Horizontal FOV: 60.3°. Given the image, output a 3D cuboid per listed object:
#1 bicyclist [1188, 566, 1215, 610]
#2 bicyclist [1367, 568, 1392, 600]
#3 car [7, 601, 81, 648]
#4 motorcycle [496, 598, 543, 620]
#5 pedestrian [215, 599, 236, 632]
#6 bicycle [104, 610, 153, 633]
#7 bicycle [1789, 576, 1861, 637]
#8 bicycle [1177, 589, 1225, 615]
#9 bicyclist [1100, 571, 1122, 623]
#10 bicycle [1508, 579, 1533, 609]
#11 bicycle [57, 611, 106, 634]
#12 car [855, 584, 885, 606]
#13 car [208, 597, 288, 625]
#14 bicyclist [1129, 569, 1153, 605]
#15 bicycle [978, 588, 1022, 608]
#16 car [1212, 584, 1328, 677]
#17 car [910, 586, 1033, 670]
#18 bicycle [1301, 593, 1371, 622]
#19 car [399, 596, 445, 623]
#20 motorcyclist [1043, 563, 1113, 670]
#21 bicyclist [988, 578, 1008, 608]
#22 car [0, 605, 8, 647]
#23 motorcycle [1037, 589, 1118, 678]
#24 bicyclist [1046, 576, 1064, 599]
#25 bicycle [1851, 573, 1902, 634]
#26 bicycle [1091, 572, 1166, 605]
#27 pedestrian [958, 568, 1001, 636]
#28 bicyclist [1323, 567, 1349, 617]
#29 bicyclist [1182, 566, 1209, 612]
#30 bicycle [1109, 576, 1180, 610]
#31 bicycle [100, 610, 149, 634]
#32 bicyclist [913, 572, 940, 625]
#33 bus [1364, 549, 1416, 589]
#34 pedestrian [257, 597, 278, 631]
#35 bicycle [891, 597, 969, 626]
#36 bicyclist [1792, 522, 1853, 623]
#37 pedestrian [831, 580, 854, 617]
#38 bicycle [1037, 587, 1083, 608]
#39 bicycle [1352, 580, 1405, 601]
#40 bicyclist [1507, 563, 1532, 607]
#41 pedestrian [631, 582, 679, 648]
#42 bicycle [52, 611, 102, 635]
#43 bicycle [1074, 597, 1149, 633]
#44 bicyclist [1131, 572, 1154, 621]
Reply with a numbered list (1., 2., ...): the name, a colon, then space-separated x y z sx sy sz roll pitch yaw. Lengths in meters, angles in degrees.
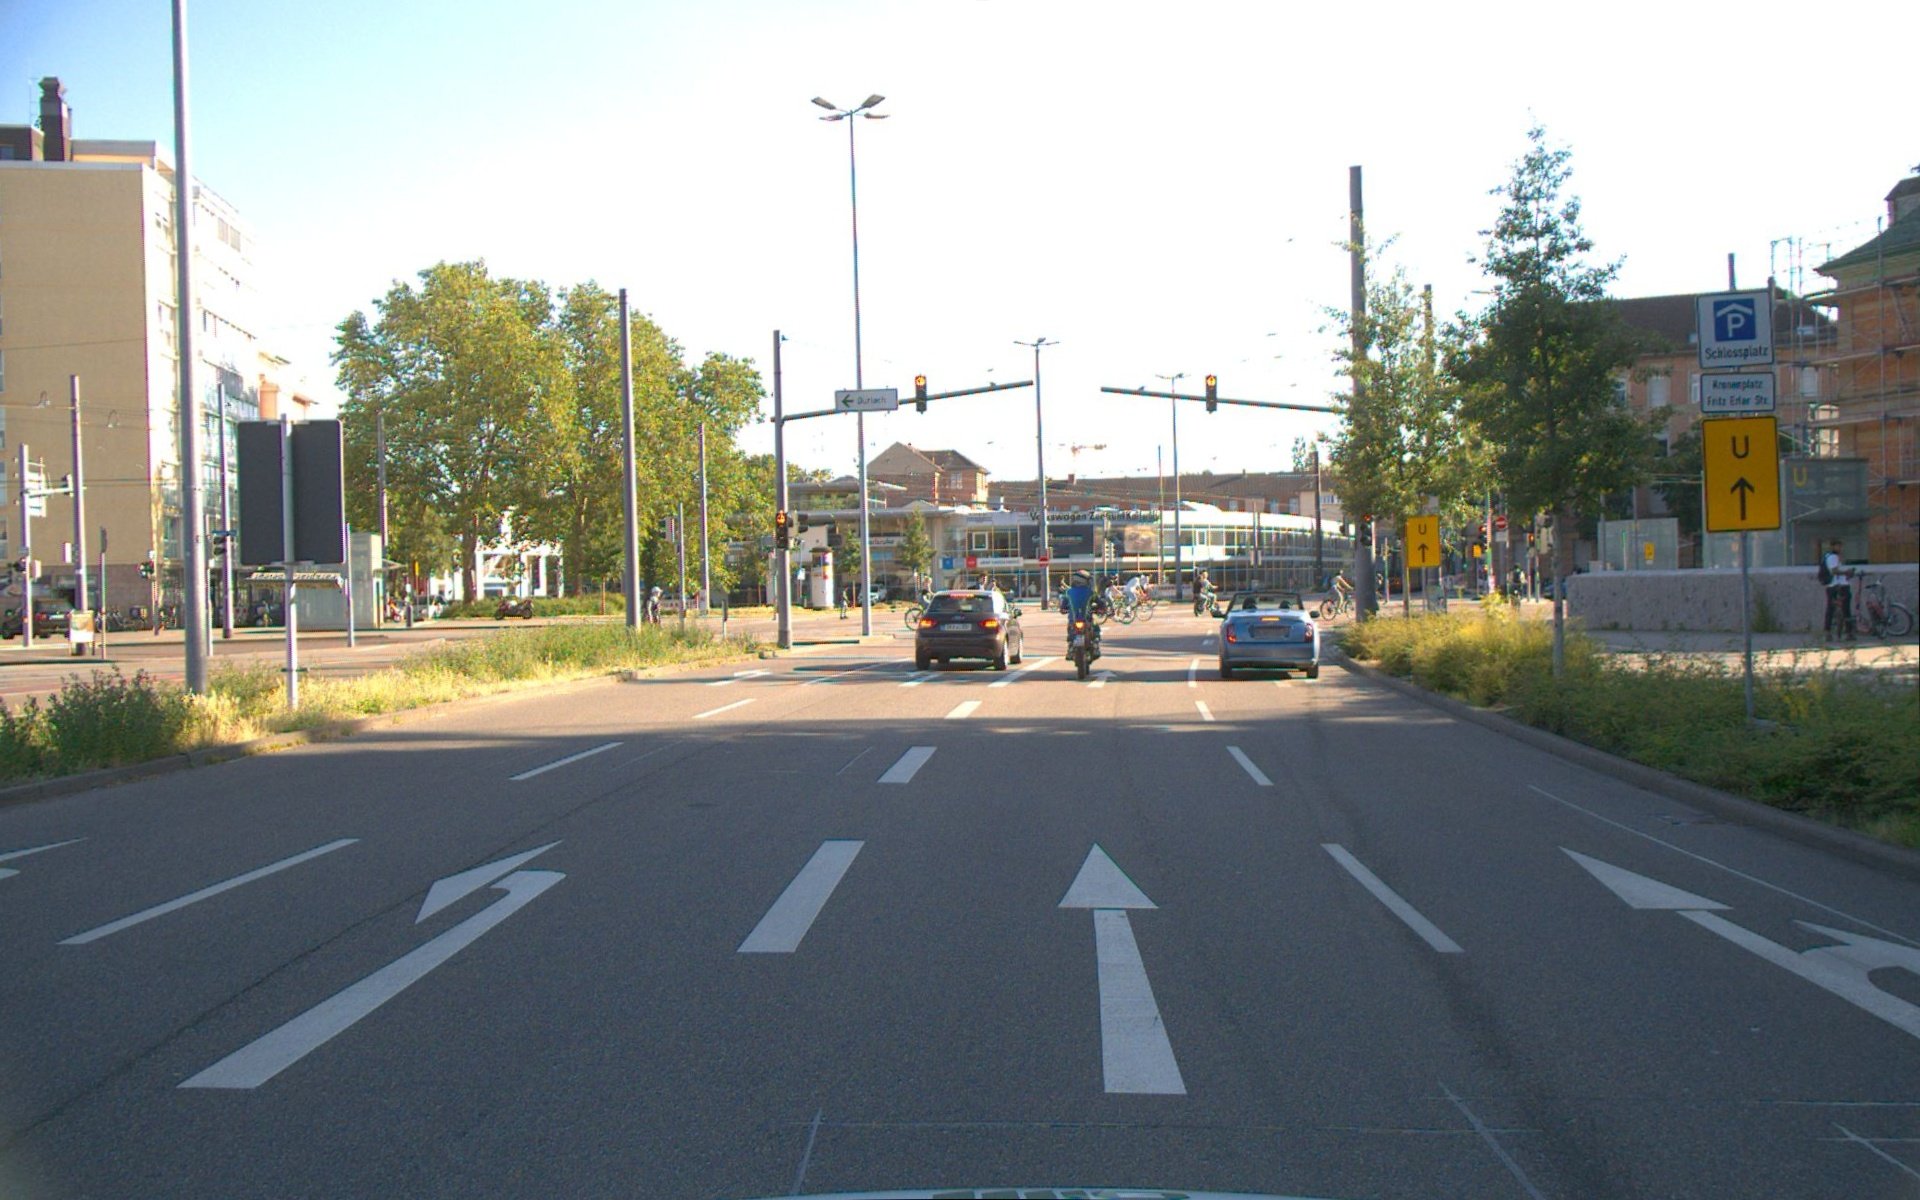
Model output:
1. bicyclist: 9.628 -0.489 65.890 0.844 1.720 0.648 1 3 40
2. bicyclist: 21.265 -0.831 83.901 0.906 1.587 0.962 -1 0 -7
3. car: -40.964 1.065 73.922 1.840 1.889 3.934 -3 3 -45
4. motorcycle: -22.687 0.459 85.266 2.240 1.072 0.687 -1 2 -5
5. pedestrian: -37.958 0.786 85.517 0.761 1.705 0.781 -1 0 -8
6. bicycle: -41.574 1.062 82.728 2.005 1.109 0.775 -2 0 -11
7. bicycle: 16.103 0.116 30.847 0.772 1.057 1.964 -3 -1 16
8. bicycle: 9.606 0.084 65.887 0.844 0.921 2.292 1 3 39
9. bicyclist: 5.162 -0.114 56.676 0.636 1.720 0.860 -1 2 -3
10. bicycle: 21.407 -0.228 63.199 0.772 1.057 1.964 -3 -1 16
11. bicycle: -43.715 1.113 82.329 2.005 1.109 0.775 -2 0 -11
12. car: -7.279 -0.409 133.669 1.952 1.561 4.003 -1 2 3
13. car: -41.026 0.630 95.331 3.919 1.447 1.807 -2 0 -14
14. bicyclist: 9.918 -0.731 90.742 1.050 1.933 1.120 -1 2 -9
15. bicycle: 2.128 -0.125 88.725 2.253 0.996 0.859 -1 2 -9
16. car: 5.436 0.470 28.689 1.762 1.469 3.981 0 1 14
17. car: 0.279 0.478 31.301 1.762 1.469 3.982 0 1 9
18. bicycle: 13.232 0.258 58.194 2.252 0.921 0.859 -1 2 -7
19. car: -32.049 0.546 98.609 1.812 1.477 3.994 -1 0 -7
20. motorcyclist: 1.970 0.269 27.543 1.072 1.751 0.937 0 0 10
21. bicyclist: 2.046 -0.378 88.690 0.906 1.586 0.858 -1 2 -10
22. car: -43.930 1.142 73.070 3.922 1.778 1.832 1 3 38
23. motorcycle: 1.986 0.531 27.587 1.072 1.401 2.655 0 0 10
24. bicyclist: 4.950 -0.670 86.193 0.701 1.162 0.834 -1 2 -17
25. bicycle: 17.079 0.052 30.804 0.615 1.057 1.957 -3 -1 33
26. bicycle: 9.231 -0.619 90.632 3.914 1.719 1.137 -1 2 -10
27. pedestrian: 0.495 0.050 41.716 0.818 1.701 0.692 -1 0 -31
28. bicyclist: 13.234 -0.279 58.185 0.637 1.720 0.859 -1 2 -6
29. bicyclist: 9.324 -0.448 65.527 0.851 1.809 0.581 -1 0 41
30. bicycle: 6.691 -0.261 60.056 2.447 1.153 0.858 -1 2 -10
31. bicycle: -41.378 1.093 81.904 2.005 1.109 0.775 -2 0 -11
32. bicyclist: -1.112 -0.058 54.606 0.732 1.720 0.858 -1 2 -12
33. bus: 34.598 -2.557 132.878 2.307 2.933 9.573 0 2 25
34. pedestrian: -36.003 0.714 85.980 0.761 1.705 0.781 -1 0 -8
35. bicycle: -0.992 0.369 54.661 2.450 0.889 0.857 -1 2 -13
36. bicyclist: 16.054 -0.505 30.809 0.770 1.817 0.894 -3 -1 17
37. pedestrian: -6.027 -0.070 84.923 0.968 1.847 0.921 0 2 7
38. bicycle: 5.212 -0.112 86.299 2.259 0.976 0.856 -2 2 -16
39. bicycle: 21.234 -0.470 83.897 2.392 1.021 0.962 -1 0 -7
40. bicyclist: 21.400 -0.568 63.248 0.772 1.621 0.948 -3 -1 17
41. pedestrian: -7.745 0.369 42.046 1.070 1.634 0.699 -1 2 -2
42. bicycle: -43.481 1.134 81.488 2.005 1.109 0.775 -2 0 -11
43. bicycle: 5.179 0.521 56.695 2.443 1.153 0.860 -1 2 -3
44. bicyclist: 6.625 -0.125 60.047 0.637 1.720 0.858 -1 2 -9
